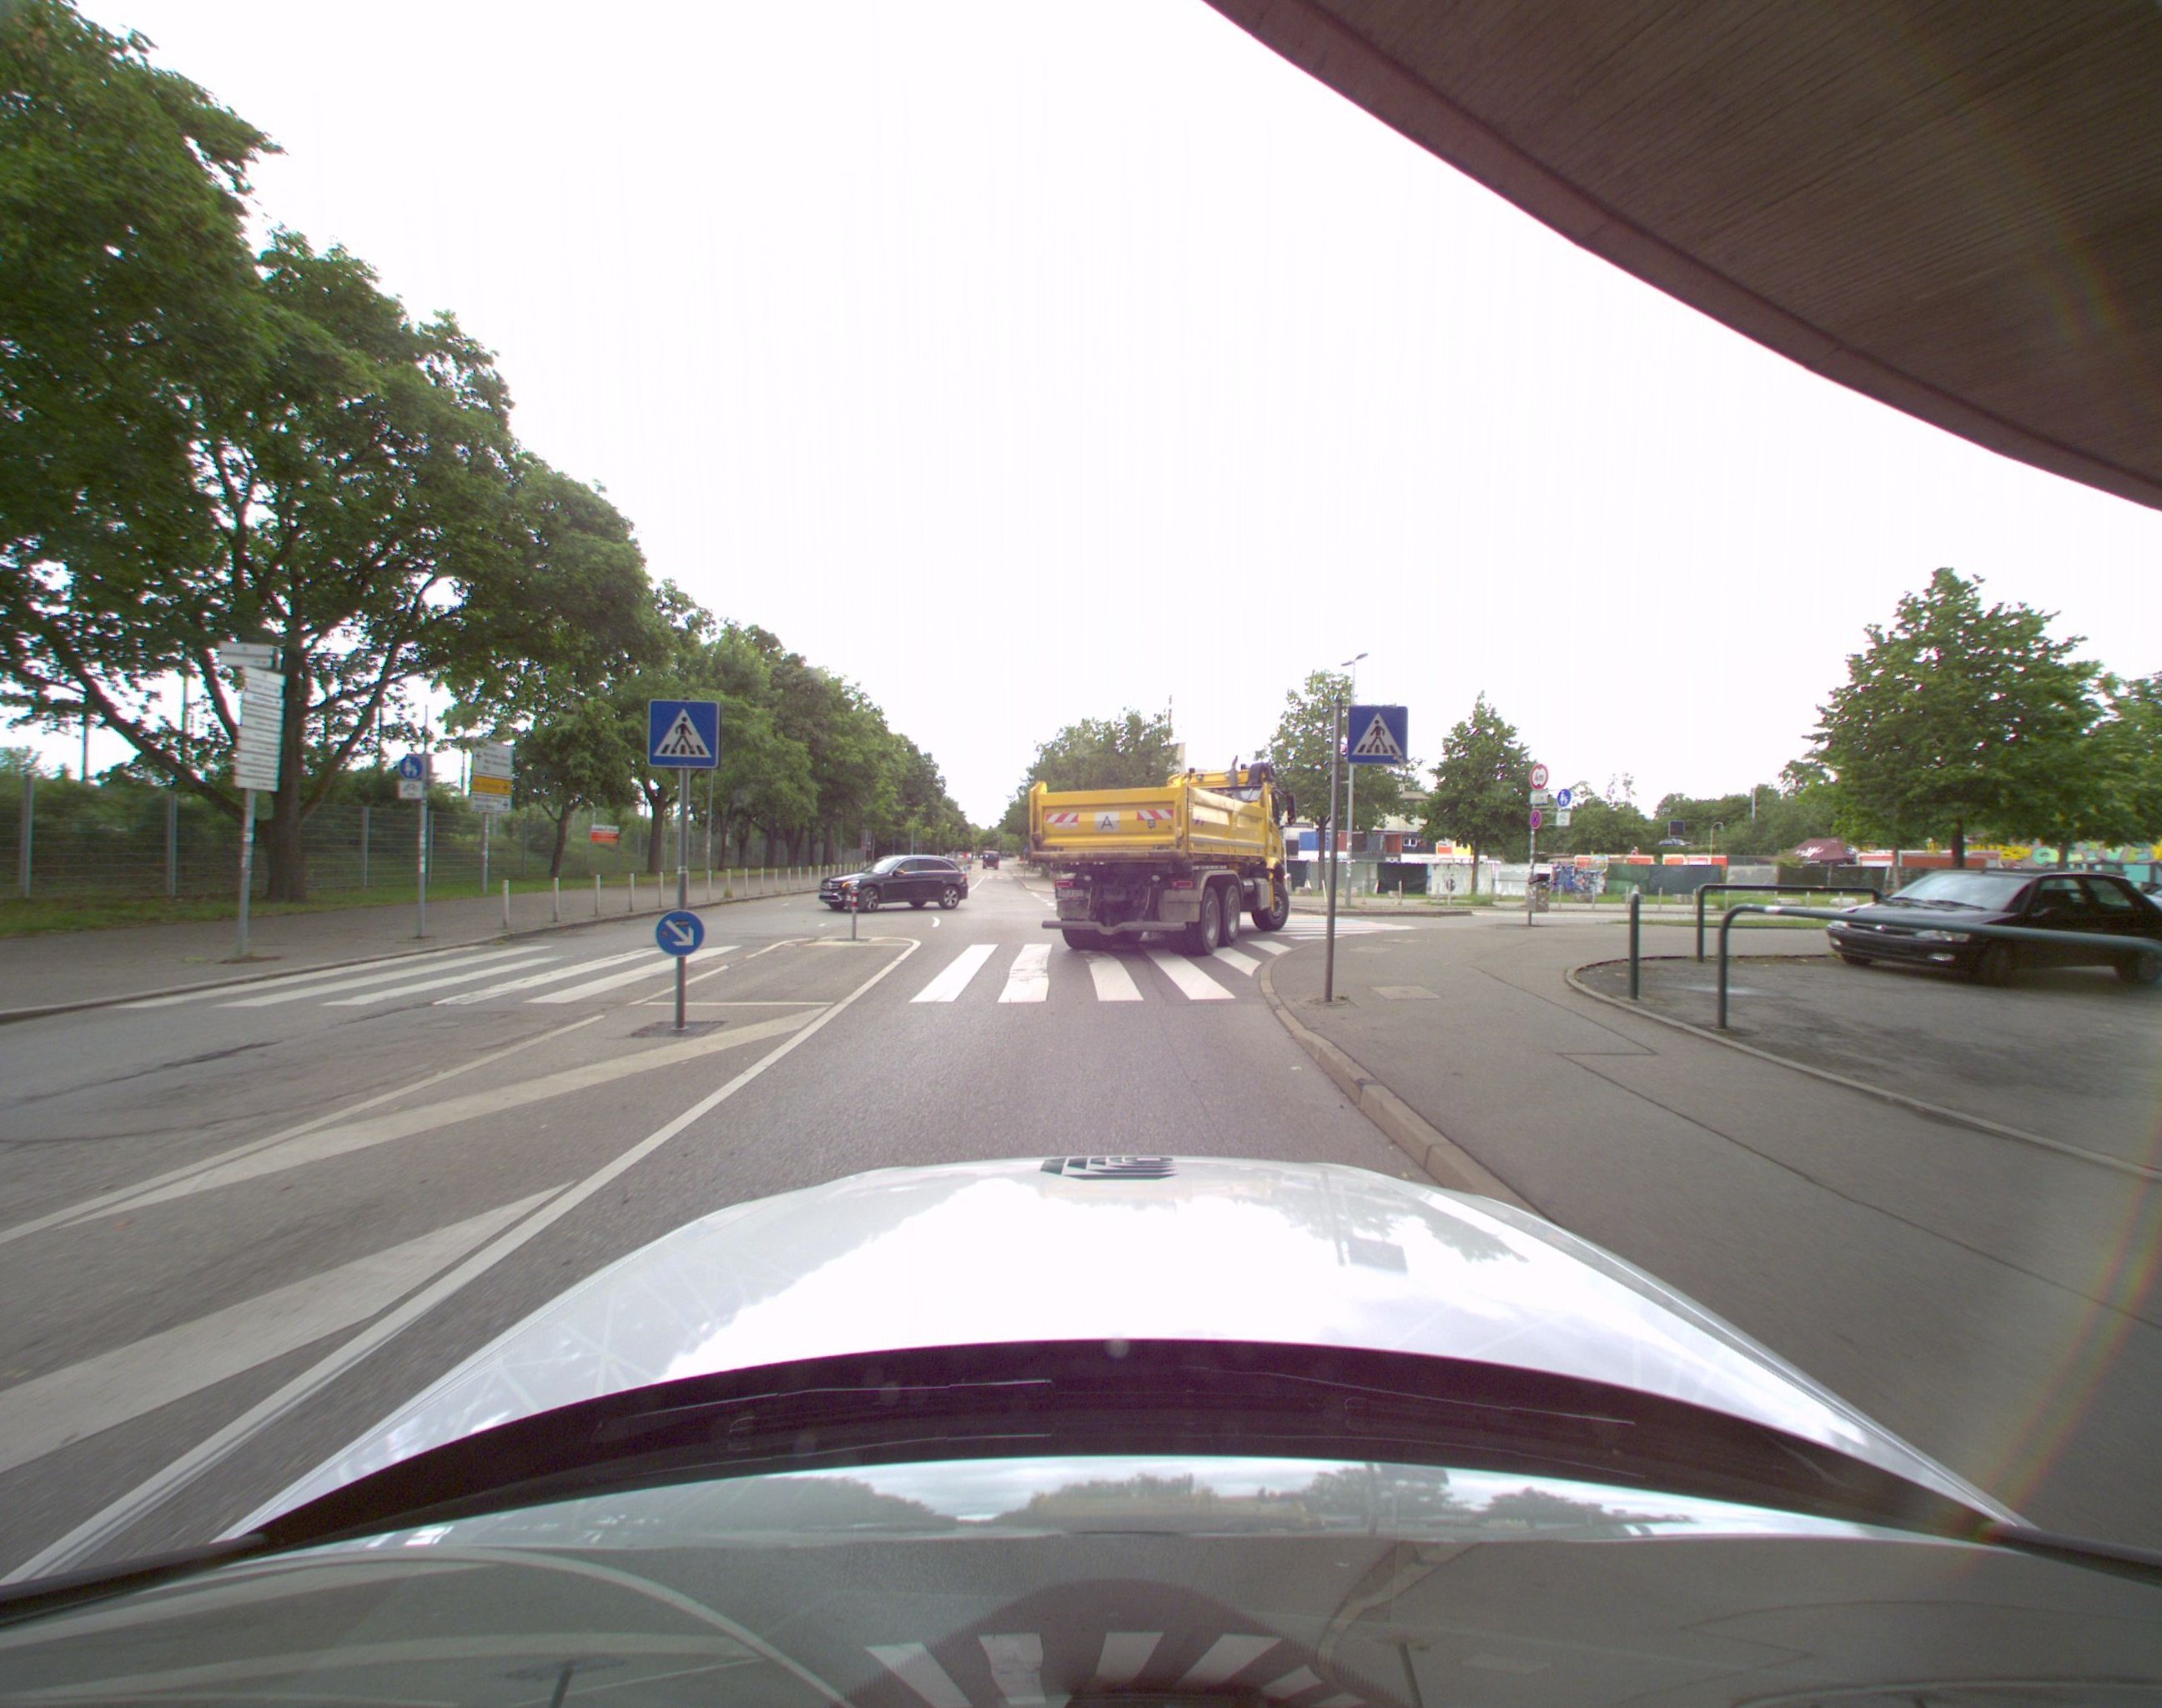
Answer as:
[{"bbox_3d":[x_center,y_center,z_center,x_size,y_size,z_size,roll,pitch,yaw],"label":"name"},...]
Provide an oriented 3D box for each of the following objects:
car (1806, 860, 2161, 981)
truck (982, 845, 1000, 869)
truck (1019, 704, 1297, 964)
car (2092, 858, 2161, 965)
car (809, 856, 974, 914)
[{"bbox_3d":[11.687,0.812,10.462,3.685,1.329,1.506,1,2,-8],"label":"car"},{"bbox_3d":[-14.444,0.556,129.981,2.670,3.558,7.904,-2,-1,-7],"label":"truck"},{"bbox_3d":[1.995,-0.234,15.702,2.733,3.699,7.925,-2,-1,25],"label":"truck"},{"bbox_3d":[16.756,0.836,11.324,4.234,1.420,1.505,1,1,-10],"label":"car"},{"bbox_3d":[-5.583,0.849,24.443,1.822,1.574,4.577,0,0,43],"label":"car"}]
